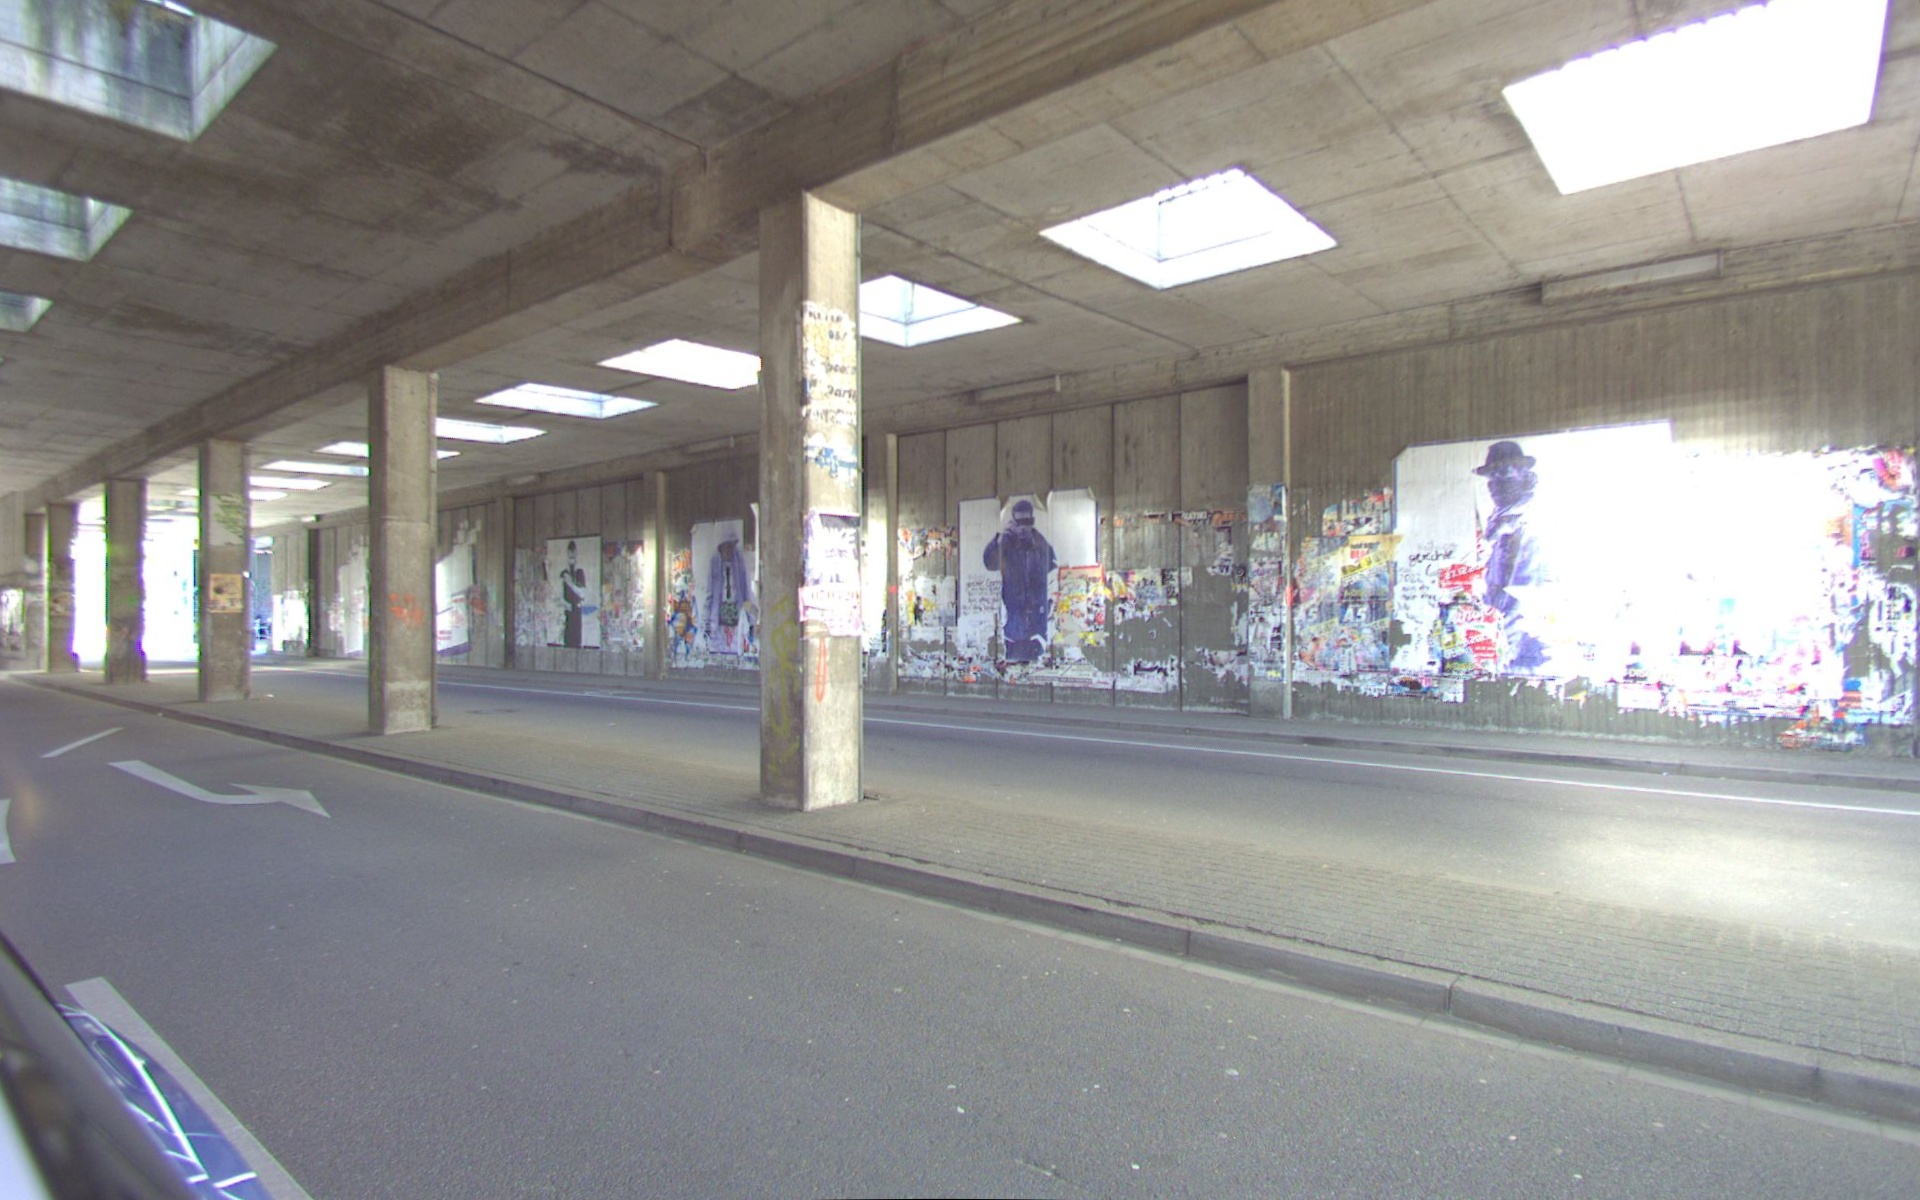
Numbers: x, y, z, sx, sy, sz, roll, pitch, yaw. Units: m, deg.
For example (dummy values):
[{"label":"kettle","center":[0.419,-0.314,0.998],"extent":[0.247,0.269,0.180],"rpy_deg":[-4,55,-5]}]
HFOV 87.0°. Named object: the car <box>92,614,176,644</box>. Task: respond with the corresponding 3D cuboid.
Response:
[{"label":"car","center":[-51.987,1.788,63.718],"extent":[3.941,1.763,2.002],"rpy_deg":[-1,0,-44]}]
